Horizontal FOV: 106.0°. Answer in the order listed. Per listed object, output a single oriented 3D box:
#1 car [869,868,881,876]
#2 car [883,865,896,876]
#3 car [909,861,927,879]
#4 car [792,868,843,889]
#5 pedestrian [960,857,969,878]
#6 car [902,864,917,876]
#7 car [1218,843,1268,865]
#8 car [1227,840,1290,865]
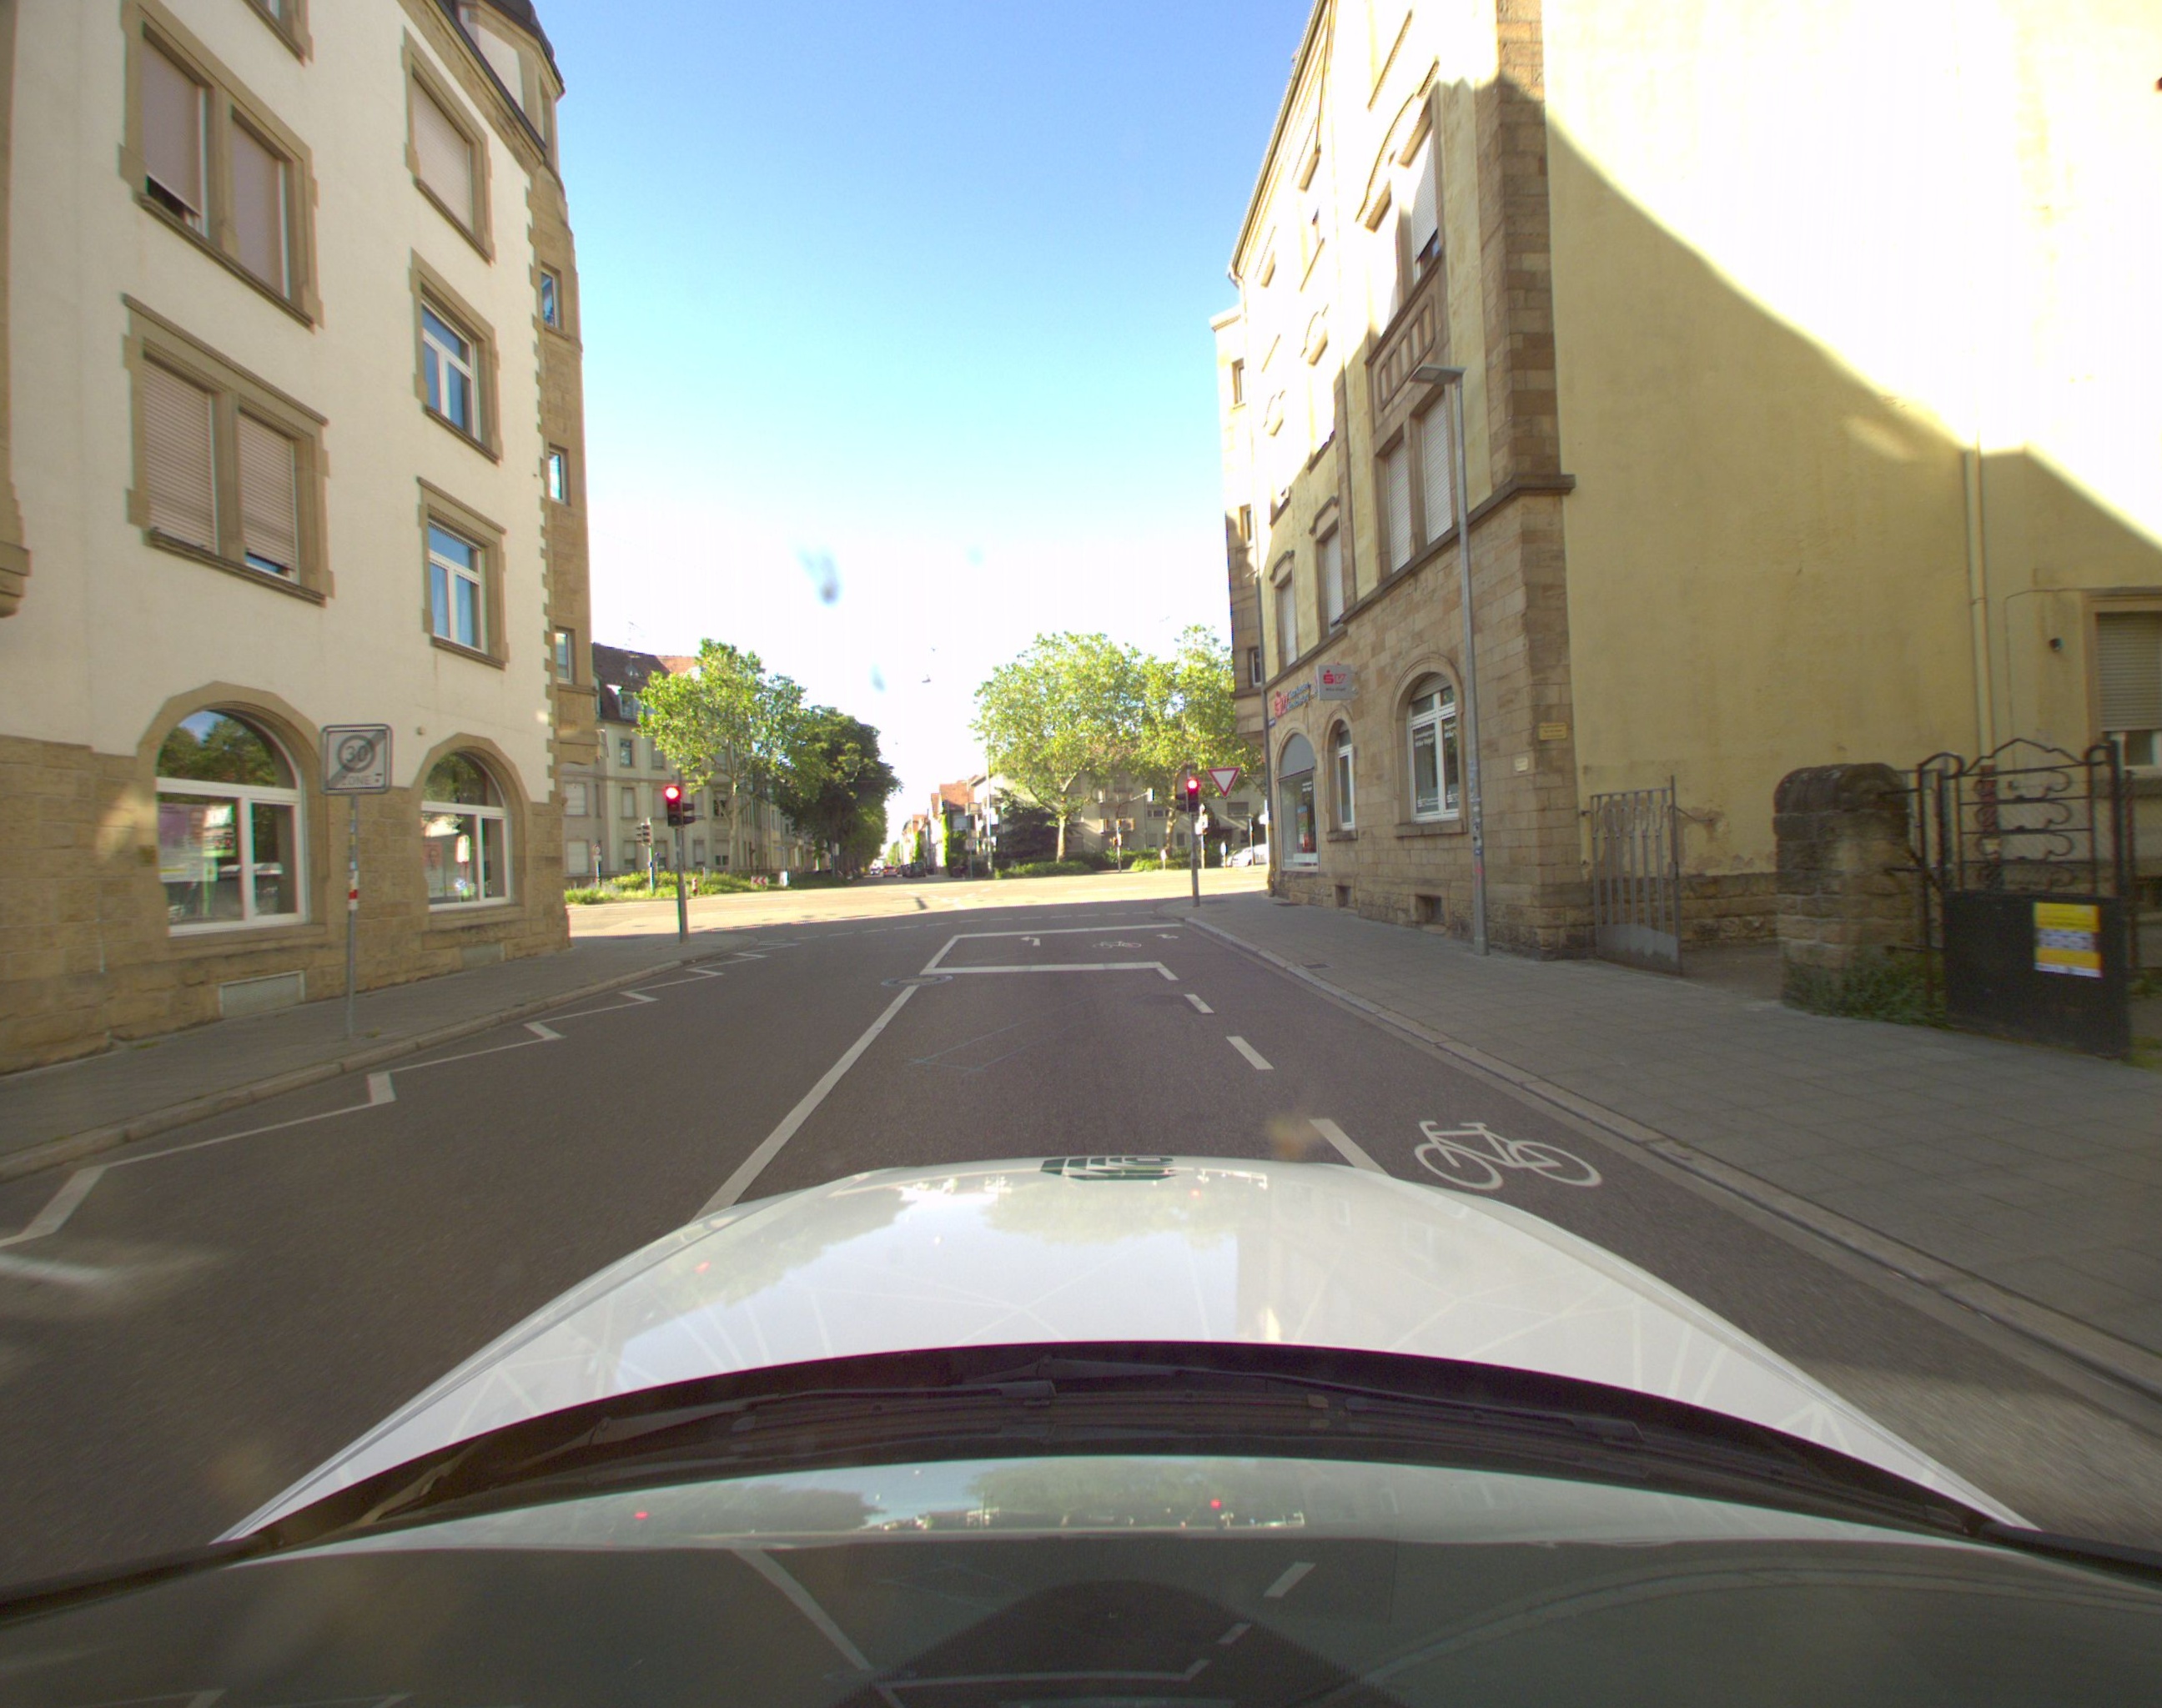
[{"bbox_3d":[-39.899,3.477,157.480,1.998,1.445,3.978,-3,0,-16],"label":"car"},{"bbox_3d":[-26.739,2.292,113.858,1.675,1.483,3.508,-2,-1,-11],"label":"car"},{"bbox_3d":[-20.182,1.940,100.854,1.995,2.013,3.984,-3,0,-11],"label":"car"},{"bbox_3d":[-22.169,2.072,68.567,4.001,1.486,1.670,-3,0,-21],"label":"car"},{"bbox_3d":[-9.569,1.116,66.786,0.632,1.750,0.658,-2,-1,-6],"label":"pedestrian"},{"bbox_3d":[-27.705,2.517,131.255,1.999,1.832,3.976,-1,-1,-18],"label":"car"},{"bbox_3d":[12.073,-0.015,60.792,3.395,1.487,1.513,-3,0,-24],"label":"car"},{"bbox_3d":[11.760,-0.092,54.032,3.803,1.472,1.618,-3,0,-22],"label":"car"}]
